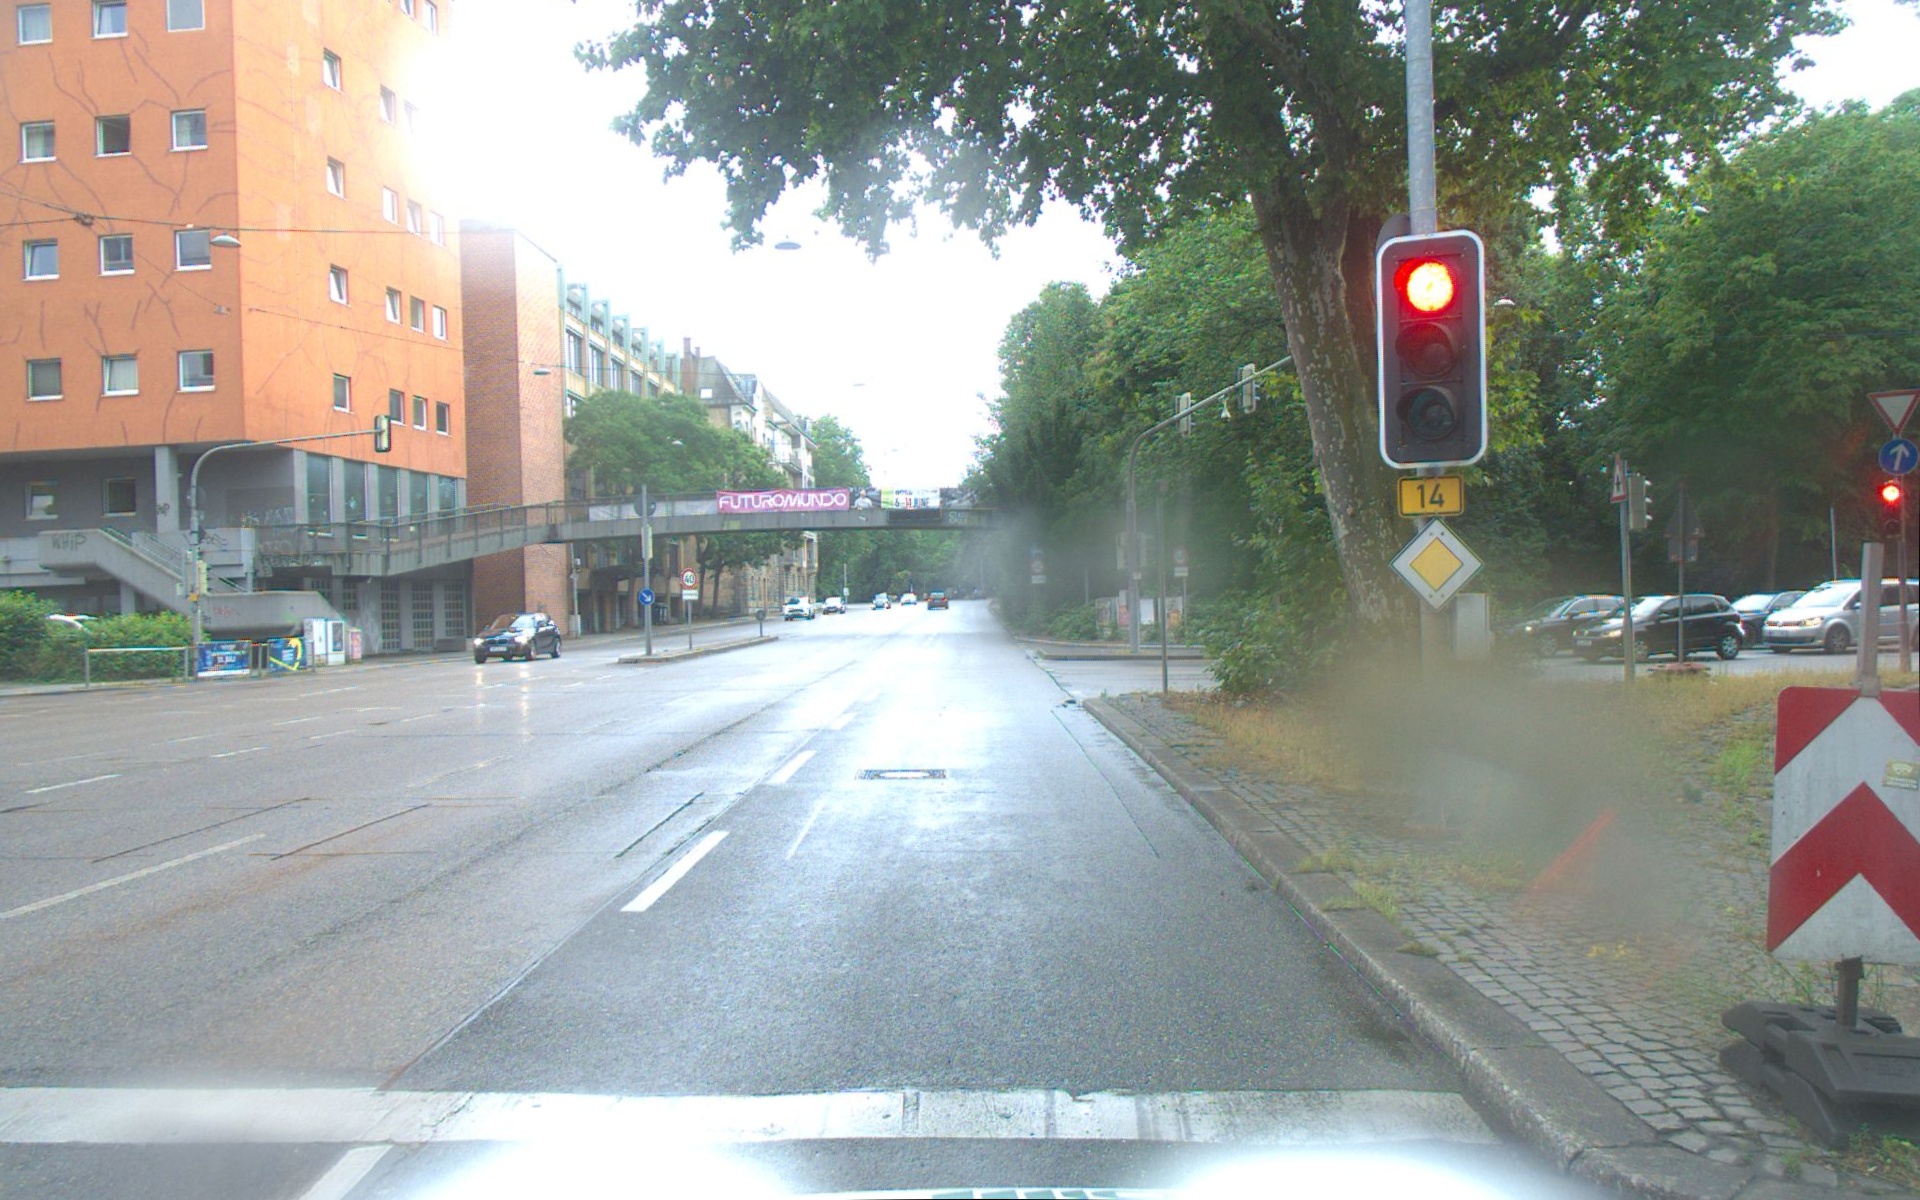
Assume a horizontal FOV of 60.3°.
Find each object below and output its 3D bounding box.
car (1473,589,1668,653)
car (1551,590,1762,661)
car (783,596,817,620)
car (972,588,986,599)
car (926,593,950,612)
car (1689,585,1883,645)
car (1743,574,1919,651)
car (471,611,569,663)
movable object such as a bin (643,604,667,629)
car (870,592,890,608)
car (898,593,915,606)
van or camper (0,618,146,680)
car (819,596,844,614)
[{"bbox_3d":[14.845,0.517,40.272,4.131,1.466,1.941,1,0,-17],"label":"car"},{"bbox_3d":[15.369,0.559,36.526,4.119,1.486,1.785,1,0,-17],"label":"car"},{"bbox_3d":[-11.609,0.577,120.402,1.850,1.638,4.457,-1,0,2],"label":"car"},{"bbox_3d":[2.615,-0.909,224.470,1.805,1.478,3.776,1,0,-1],"label":"car"},{"bbox_3d":[-1.936,0.227,145.756,1.964,1.672,4.374,-1,0,-2],"label":"car"},{"bbox_3d":[20.936,0.380,41.971,4.361,1.427,1.821,1,0,-17],"label":"car"},{"bbox_3d":[20.637,0.303,38.529,4.129,1.709,1.898,1,0,-17],"label":"car"},{"bbox_3d":[-13.279,1.108,50.160,1.650,1.444,4.216,-2,-1,3],"label":"car"},{"bbox_3d":[-19.692,1.056,106.815,1.256,1.545,1.273,-1,0,1],"label":"movable object such as a bin"},{"bbox_3d":[-7.793,0.006,161.646,1.648,1.461,3.863,-2,0,1],"label":"car"},{"bbox_3d":[-6.350,-0.051,195.993,1.793,1.418,4.405,-3,0,1],"label":"car"},{"bbox_3d":[-25.899,1.416,47.702,3.902,1.656,1.915,-1,0,5],"label":"van or camper"},{"bbox_3d":[-11.321,0.443,145.515,1.673,1.490,4.042,-2,0,2],"label":"car"}]
